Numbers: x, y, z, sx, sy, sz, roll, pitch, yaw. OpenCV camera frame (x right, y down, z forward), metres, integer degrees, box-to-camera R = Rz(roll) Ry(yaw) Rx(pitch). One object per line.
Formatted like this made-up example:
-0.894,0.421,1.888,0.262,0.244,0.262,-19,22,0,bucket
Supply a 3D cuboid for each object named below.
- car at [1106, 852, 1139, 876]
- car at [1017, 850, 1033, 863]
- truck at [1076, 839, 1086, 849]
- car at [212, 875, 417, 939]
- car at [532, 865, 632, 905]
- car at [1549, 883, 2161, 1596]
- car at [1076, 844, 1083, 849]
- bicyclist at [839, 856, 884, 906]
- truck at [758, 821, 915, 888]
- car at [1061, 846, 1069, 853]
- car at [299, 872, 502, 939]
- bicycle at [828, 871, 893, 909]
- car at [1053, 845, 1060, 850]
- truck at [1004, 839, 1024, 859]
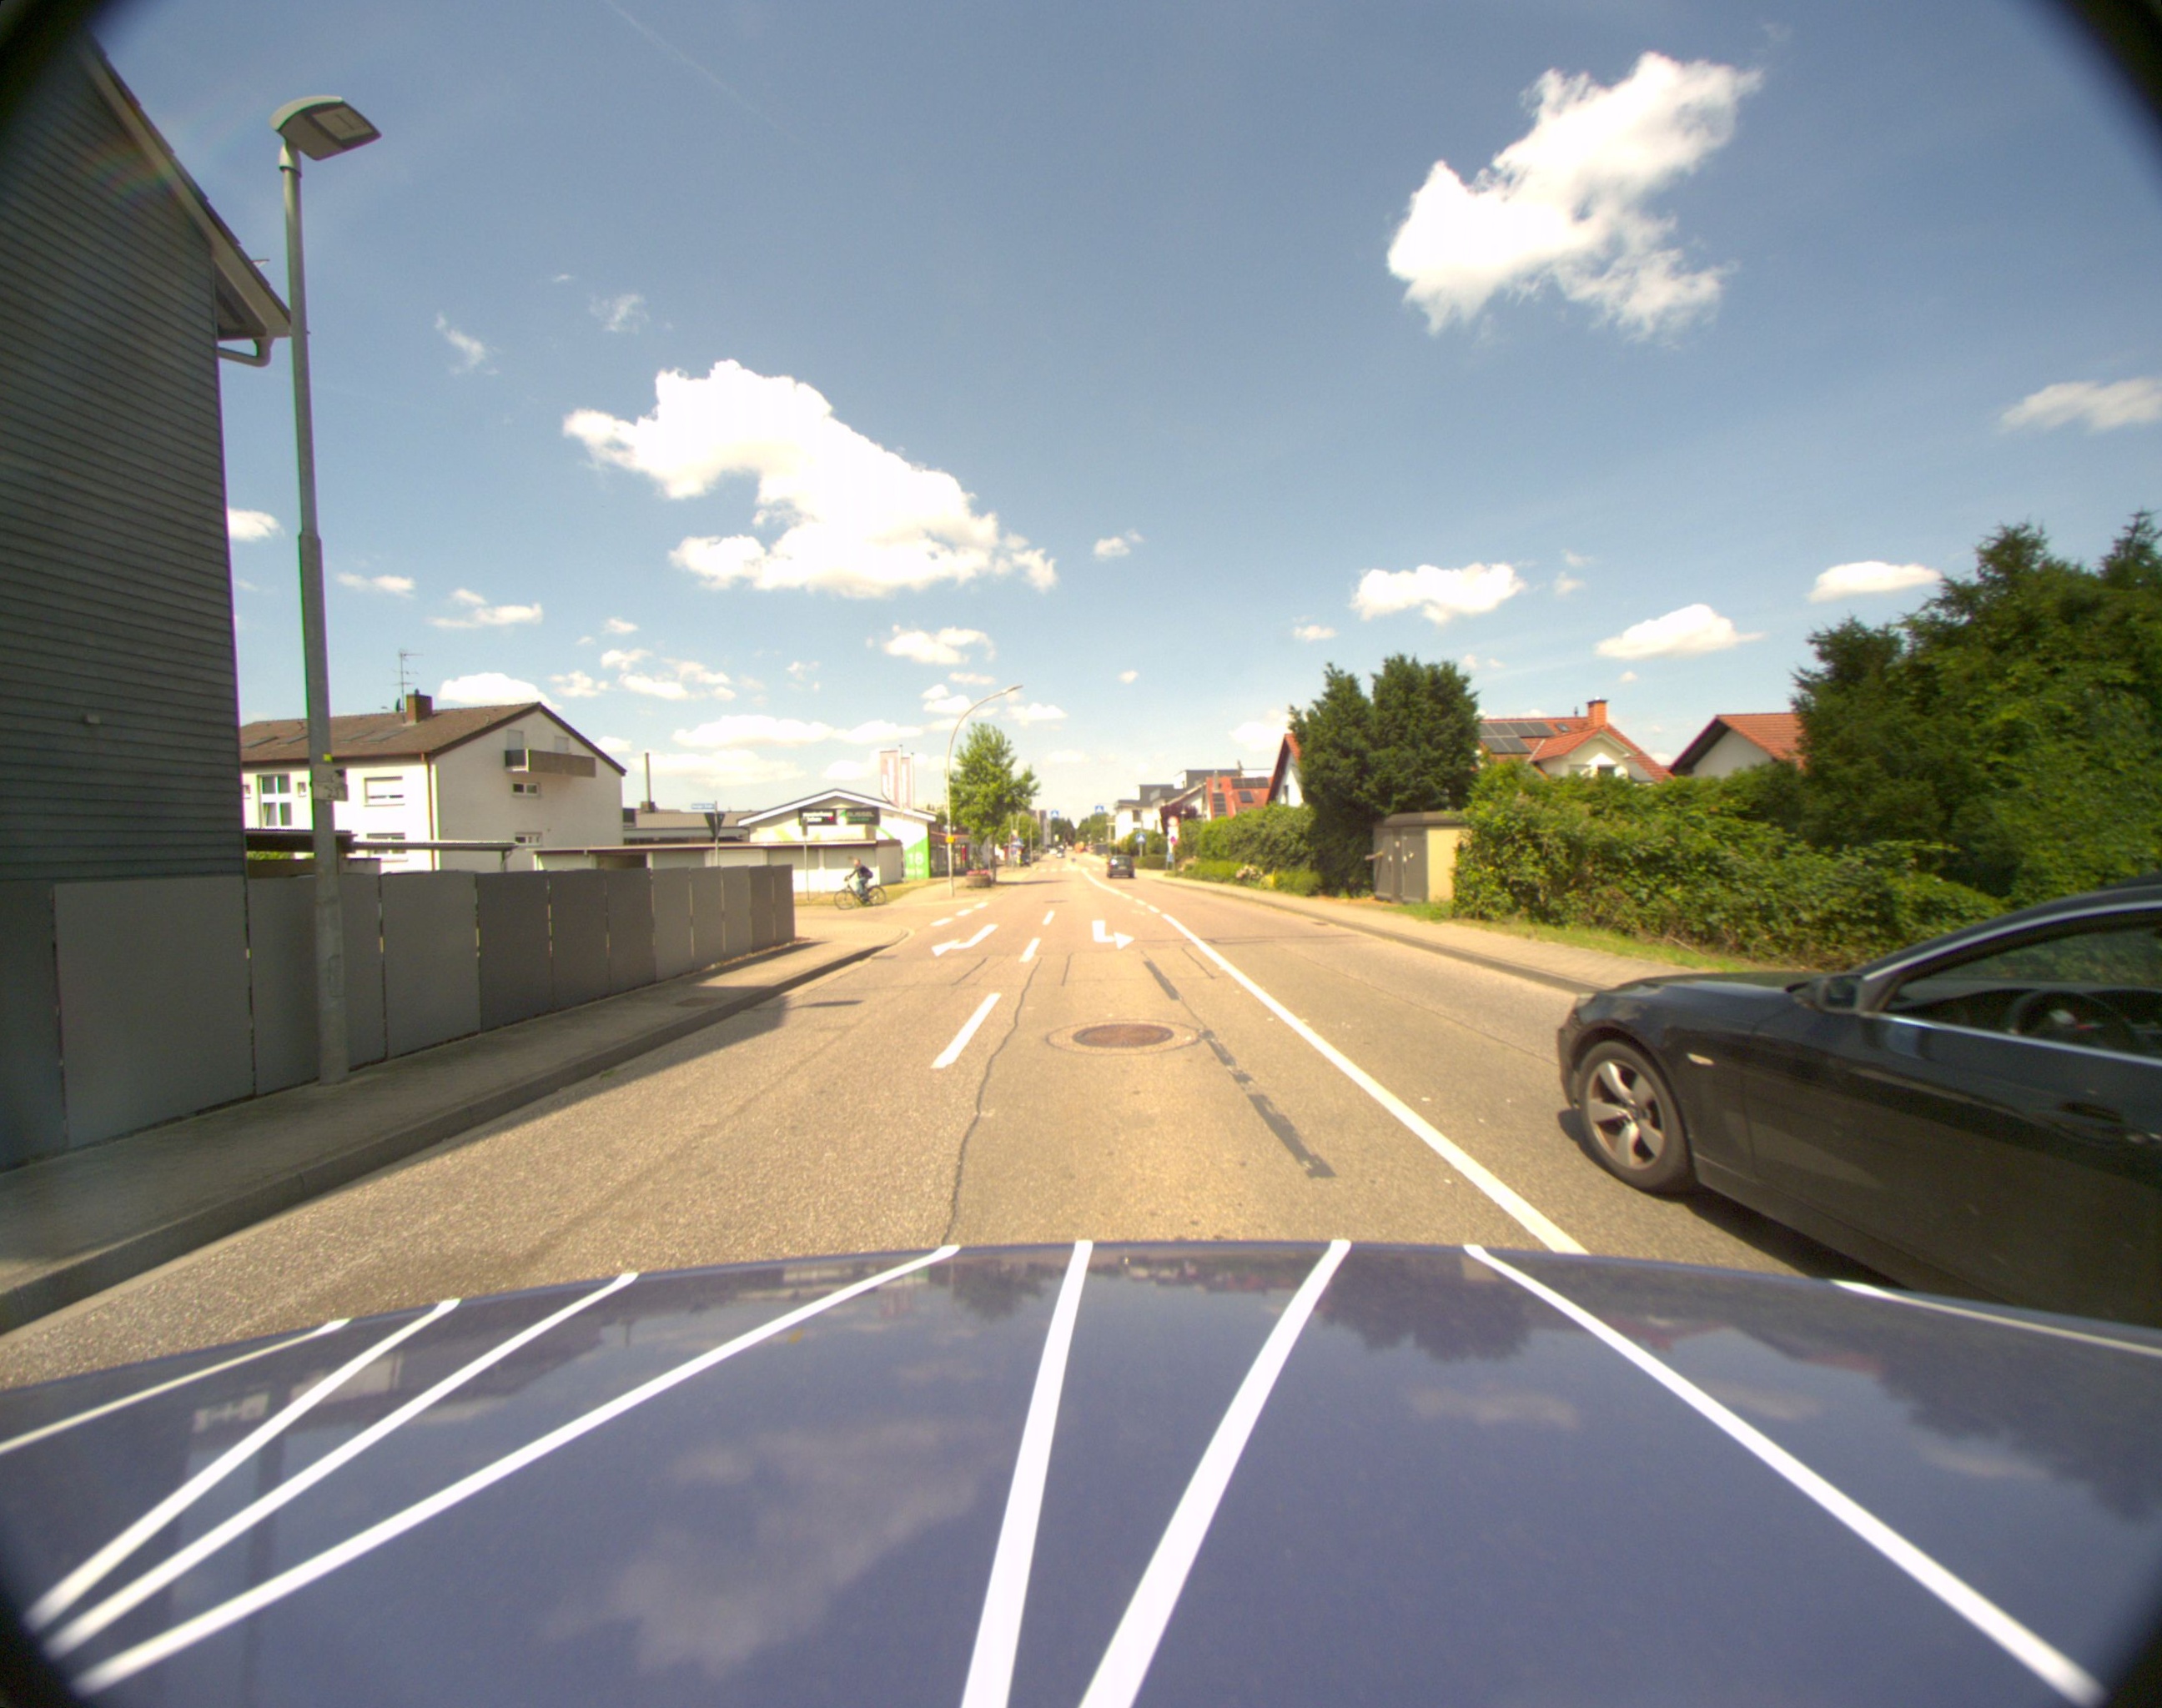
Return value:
2.541,0.620,47.475,1.785,1.425,3.871,0,0,-1,car
-6.573,0.315,89.503,1.729,1.484,3.758,0,1,-2,car
0.074,-3.012,228.142,2.864,2.695,6.789,0,1,-1,truck
-21.059,1.390,21.135,1.741,1.577,3.854,-1,-1,2,car
-22.241,1.346,34.062,1.679,1.494,4.131,-2,1,0,car
3.255,0.878,1.478,1.868,1.434,4.671,0,1,1,car
-0.415,-2.151,214.372,1.799,1.480,3.612,0,1,-2,car
-7.444,0.901,25.797,0.803,1.620,1.114,-3,0,39,bicyclist
-14.294,-0.010,44.896,8.192,3.553,2.676,-2,2,-2,truck
-3.191,-0.936,151.302,1.729,1.484,3.759,0,1,-1,car
-18.578,1.338,21.046,1.741,1.638,4.217,-1,-1,2,car
-7.467,1.207,25.771,0.803,1.158,1.947,-3,0,39,bicycle
-6.526,-1.738,198.964,1.729,1.484,3.759,0,1,-1,car
-9.245,-0.702,104.424,2.580,2.746,6.329,0,1,-7,truck
